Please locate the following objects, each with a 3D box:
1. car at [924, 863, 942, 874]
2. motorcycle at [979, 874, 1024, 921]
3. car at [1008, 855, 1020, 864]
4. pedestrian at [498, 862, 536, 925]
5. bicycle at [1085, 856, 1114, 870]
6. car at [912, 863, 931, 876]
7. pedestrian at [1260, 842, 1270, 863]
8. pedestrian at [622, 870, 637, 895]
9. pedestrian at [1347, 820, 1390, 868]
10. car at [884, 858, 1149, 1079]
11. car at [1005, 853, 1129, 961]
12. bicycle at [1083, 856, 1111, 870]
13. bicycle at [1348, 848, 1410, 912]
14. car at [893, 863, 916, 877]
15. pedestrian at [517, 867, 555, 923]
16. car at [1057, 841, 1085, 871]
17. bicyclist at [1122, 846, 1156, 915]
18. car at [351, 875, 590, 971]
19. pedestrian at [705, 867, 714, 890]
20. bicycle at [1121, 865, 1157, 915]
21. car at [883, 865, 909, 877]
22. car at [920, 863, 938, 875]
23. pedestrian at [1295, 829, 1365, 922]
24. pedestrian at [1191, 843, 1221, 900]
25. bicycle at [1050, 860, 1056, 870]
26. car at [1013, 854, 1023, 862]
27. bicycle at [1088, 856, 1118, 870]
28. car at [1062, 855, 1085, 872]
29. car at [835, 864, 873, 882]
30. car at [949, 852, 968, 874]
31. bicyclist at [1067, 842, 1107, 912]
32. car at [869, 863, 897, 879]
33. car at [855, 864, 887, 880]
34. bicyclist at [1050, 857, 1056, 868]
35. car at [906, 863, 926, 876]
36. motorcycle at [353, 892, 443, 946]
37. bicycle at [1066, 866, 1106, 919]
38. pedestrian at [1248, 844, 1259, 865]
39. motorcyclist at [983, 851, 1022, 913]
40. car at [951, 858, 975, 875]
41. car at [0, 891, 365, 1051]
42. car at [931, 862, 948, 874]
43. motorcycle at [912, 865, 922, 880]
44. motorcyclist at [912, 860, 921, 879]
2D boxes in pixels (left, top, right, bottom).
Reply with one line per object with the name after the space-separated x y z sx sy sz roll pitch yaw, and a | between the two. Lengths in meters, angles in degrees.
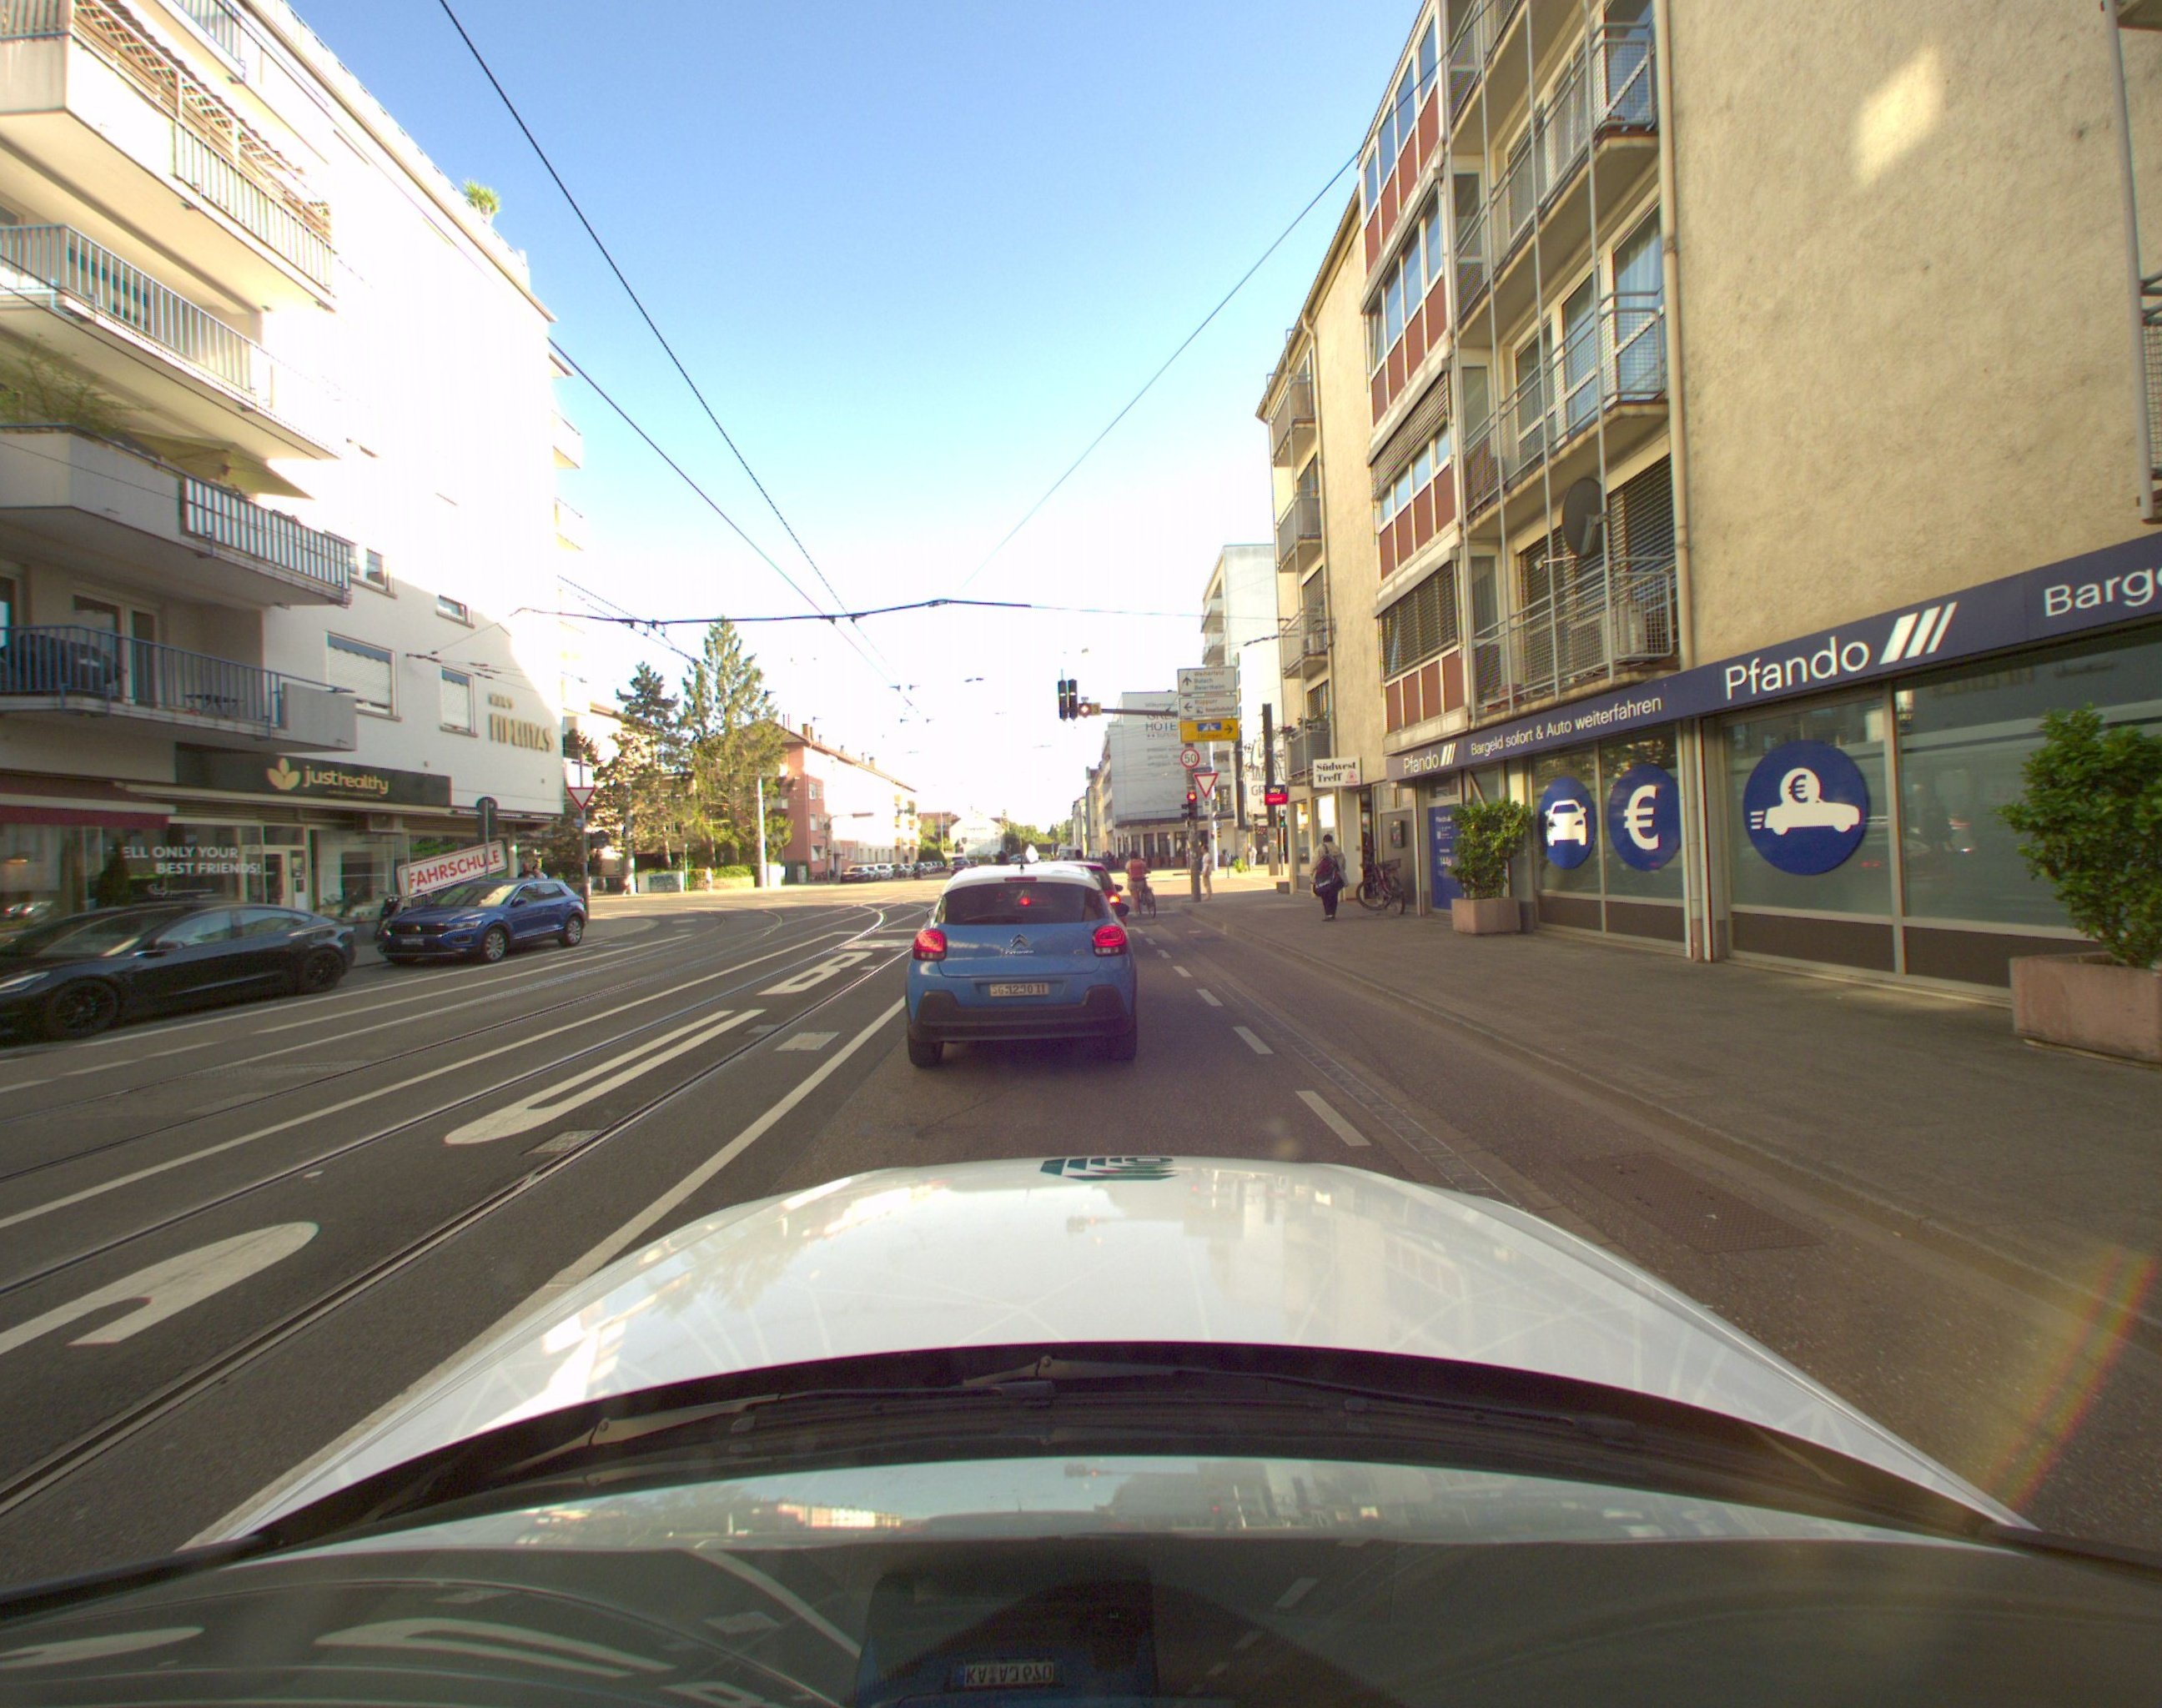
-20.572 1.993 113.338 1.865 1.576 3.995 0 -1 -3 | car
-1.905 1.038 19.805 0.852 1.047 1.943 0 -1 2 | motorcycle
-14.009 1.202 170.547 2.212 1.932 4.946 0 -1 -1 | car
-17.371 1.213 25.094 0.568 1.900 0.742 -2 -3 16 | pedestrian
1.541 0.741 67.302 2.246 1.001 0.855 -4 0 -4 | bicycle
-20.222 1.911 103.393 1.865 1.576 3.995 0 -1 -3 | car
14.171 -0.094 62.631 0.604 1.608 0.673 -1 -1 27 | pedestrian
-30.911 1.941 55.745 0.785 1.722 0.699 0 -1 -22 | pedestrian
6.788 -0.243 19.259 0.627 1.087 0.672 -3 1 -35 | pedestrian
-0.297 0.790 7.304 1.728 1.452 3.668 -1 0 5 | car
-0.289 0.762 13.658 1.780 1.521 3.758 0 0 -3 | car
1.376 0.759 68.417 2.246 1.001 0.855 -4 0 -4 | bicycle
5.748 0.488 15.795 0.495 1.161 1.776 -2 -1 -1 | bicycle
-20.057 1.824 92.726 1.865 1.576 3.995 0 -1 -3 | car
-18.038 1.339 26.953 0.732 1.792 0.663 -2 0 5 | pedestrian
-0.963 0.187 73.023 2.260 2.482 5.002 -1 0 -3 | car
1.458 0.664 20.460 0.807 1.692 0.937 0 -1 6 | bicyclist
-11.881 1.245 16.274 1.765 1.503 4.233 0 1 -4 | car
-26.027 1.717 57.033 0.519 1.568 0.568 0 -1 -26 | pedestrian
1.481 0.891 20.613 0.807 1.181 2.068 0 -1 6 | bicycle
-19.620 1.766 86.733 1.942 1.239 4.279 0 0 -2 | car
-20.133 1.949 108.277 1.865 1.576 3.995 0 -1 -3 | car
4.548 0.375 14.933 0.883 1.592 0.809 -5 1 -7 | pedestrian
3.703 0.510 24.178 0.534 1.623 0.737 -7 -3 23 | pedestrian
-4.836 1.912 140.825 0.787 1.670 2.231 0 -1 3 | bicycle
-14.605 0.885 188.442 2.068 1.762 5.034 0 0 -1 | car
1.770 0.737 65.928 2.246 1.001 0.855 -4 0 -4 | bicycle
-0.649 0.790 68.012 1.654 1.431 3.882 0 -1 -4 | car
-19.367 1.628 69.678 2.149 1.432 4.435 0 -2 -3 | car
-17.981 1.262 119.679 2.411 3.142 3.487 0 -1 -1 | car
0.146 0.563 20.078 0.937 1.673 1.079 0 -1 0 | bicyclist
-19.409 1.674 80.019 1.737 1.526 4.227 0 0 -1 | car
-19.360 1.661 75.361 1.897 1.436 4.102 0 0 0 | car
-4.839 1.483 140.832 0.787 2.024 0.987 0 -1 3 | bicyclist
-20.002 1.873 98.789 1.865 1.576 3.995 0 -1 -3 | car
-15.883 1.480 18.989 0.605 1.134 1.795 0 -1 -2 | motorcycle
0.135 0.914 20.210 0.937 1.223 2.094 0 -1 1 | bicycle
12.850 0.039 60.571 0.604 1.608 0.673 -1 -1 29 | pedestrian
-1.906 0.675 19.961 0.852 1.488 0.729 0 -1 1 | motorcyclist
-11.130 1.145 76.843 1.775 1.486 3.824 -3 0 -3 | car
-11.996 1.304 10.424 1.764 1.475 4.443 0 0 -1 | car
-20.774 2.045 119.661 1.865 1.576 3.995 0 -1 -3 | car
-13.589 1.547 67.462 0.712 1.220 1.957 -2 -2 -12 | motorcycle
-13.627 1.274 67.581 0.694 1.497 0.681 -2 -2 -12 | motorcyclist
